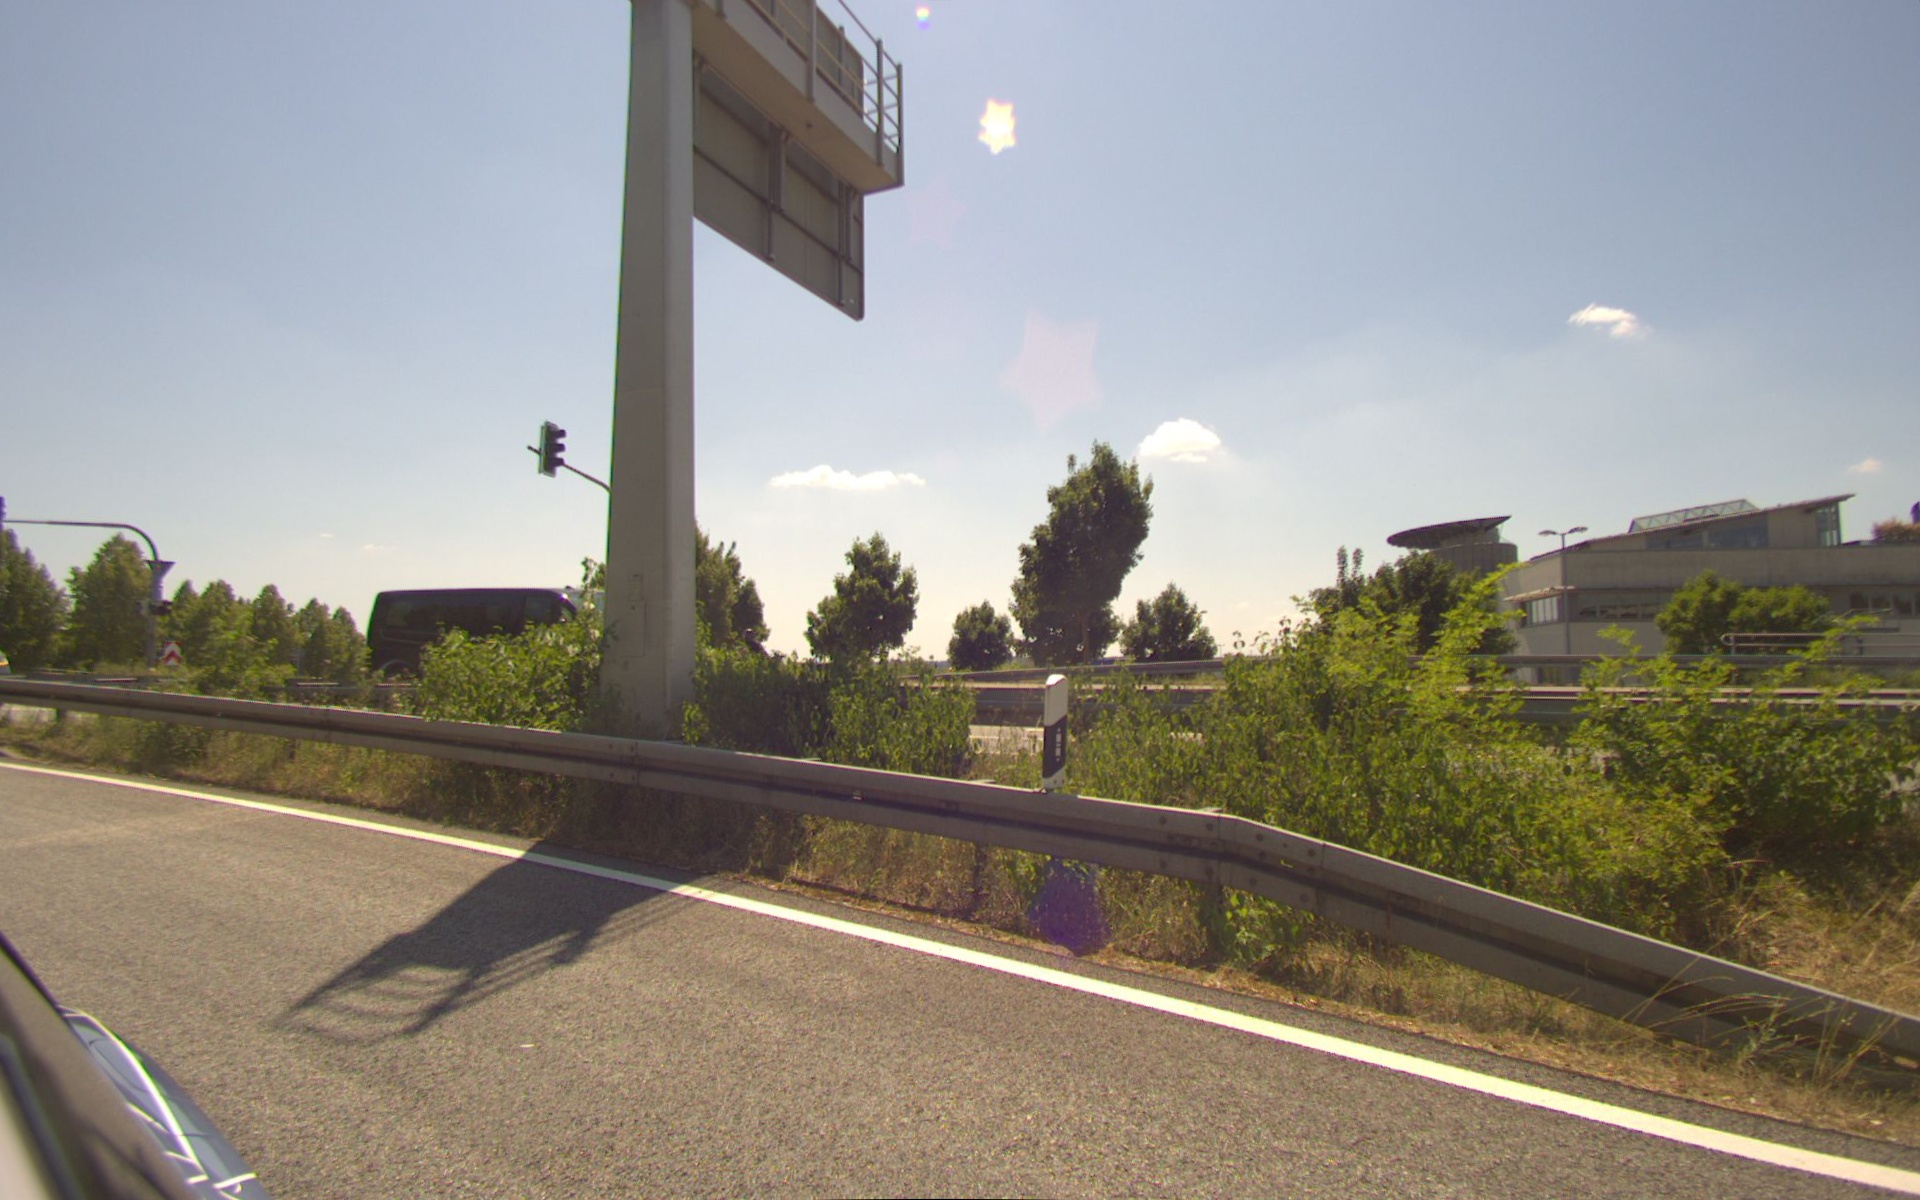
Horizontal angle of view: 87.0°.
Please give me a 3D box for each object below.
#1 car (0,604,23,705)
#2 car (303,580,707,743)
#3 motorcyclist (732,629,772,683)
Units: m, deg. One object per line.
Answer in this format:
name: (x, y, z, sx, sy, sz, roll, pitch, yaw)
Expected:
car: (-20.734, 1.010, 19.651, 4.503, 1.934, 1.930, -1, -5, 23)
car: (-6.398, 0.755, 14.187, 5.377, 1.952, 2.109, 0, -2, 24)
motorcyclist: (-5.241, 1.414, 25.531, 0.717, 1.313, 0.673, -1, -6, 15)
